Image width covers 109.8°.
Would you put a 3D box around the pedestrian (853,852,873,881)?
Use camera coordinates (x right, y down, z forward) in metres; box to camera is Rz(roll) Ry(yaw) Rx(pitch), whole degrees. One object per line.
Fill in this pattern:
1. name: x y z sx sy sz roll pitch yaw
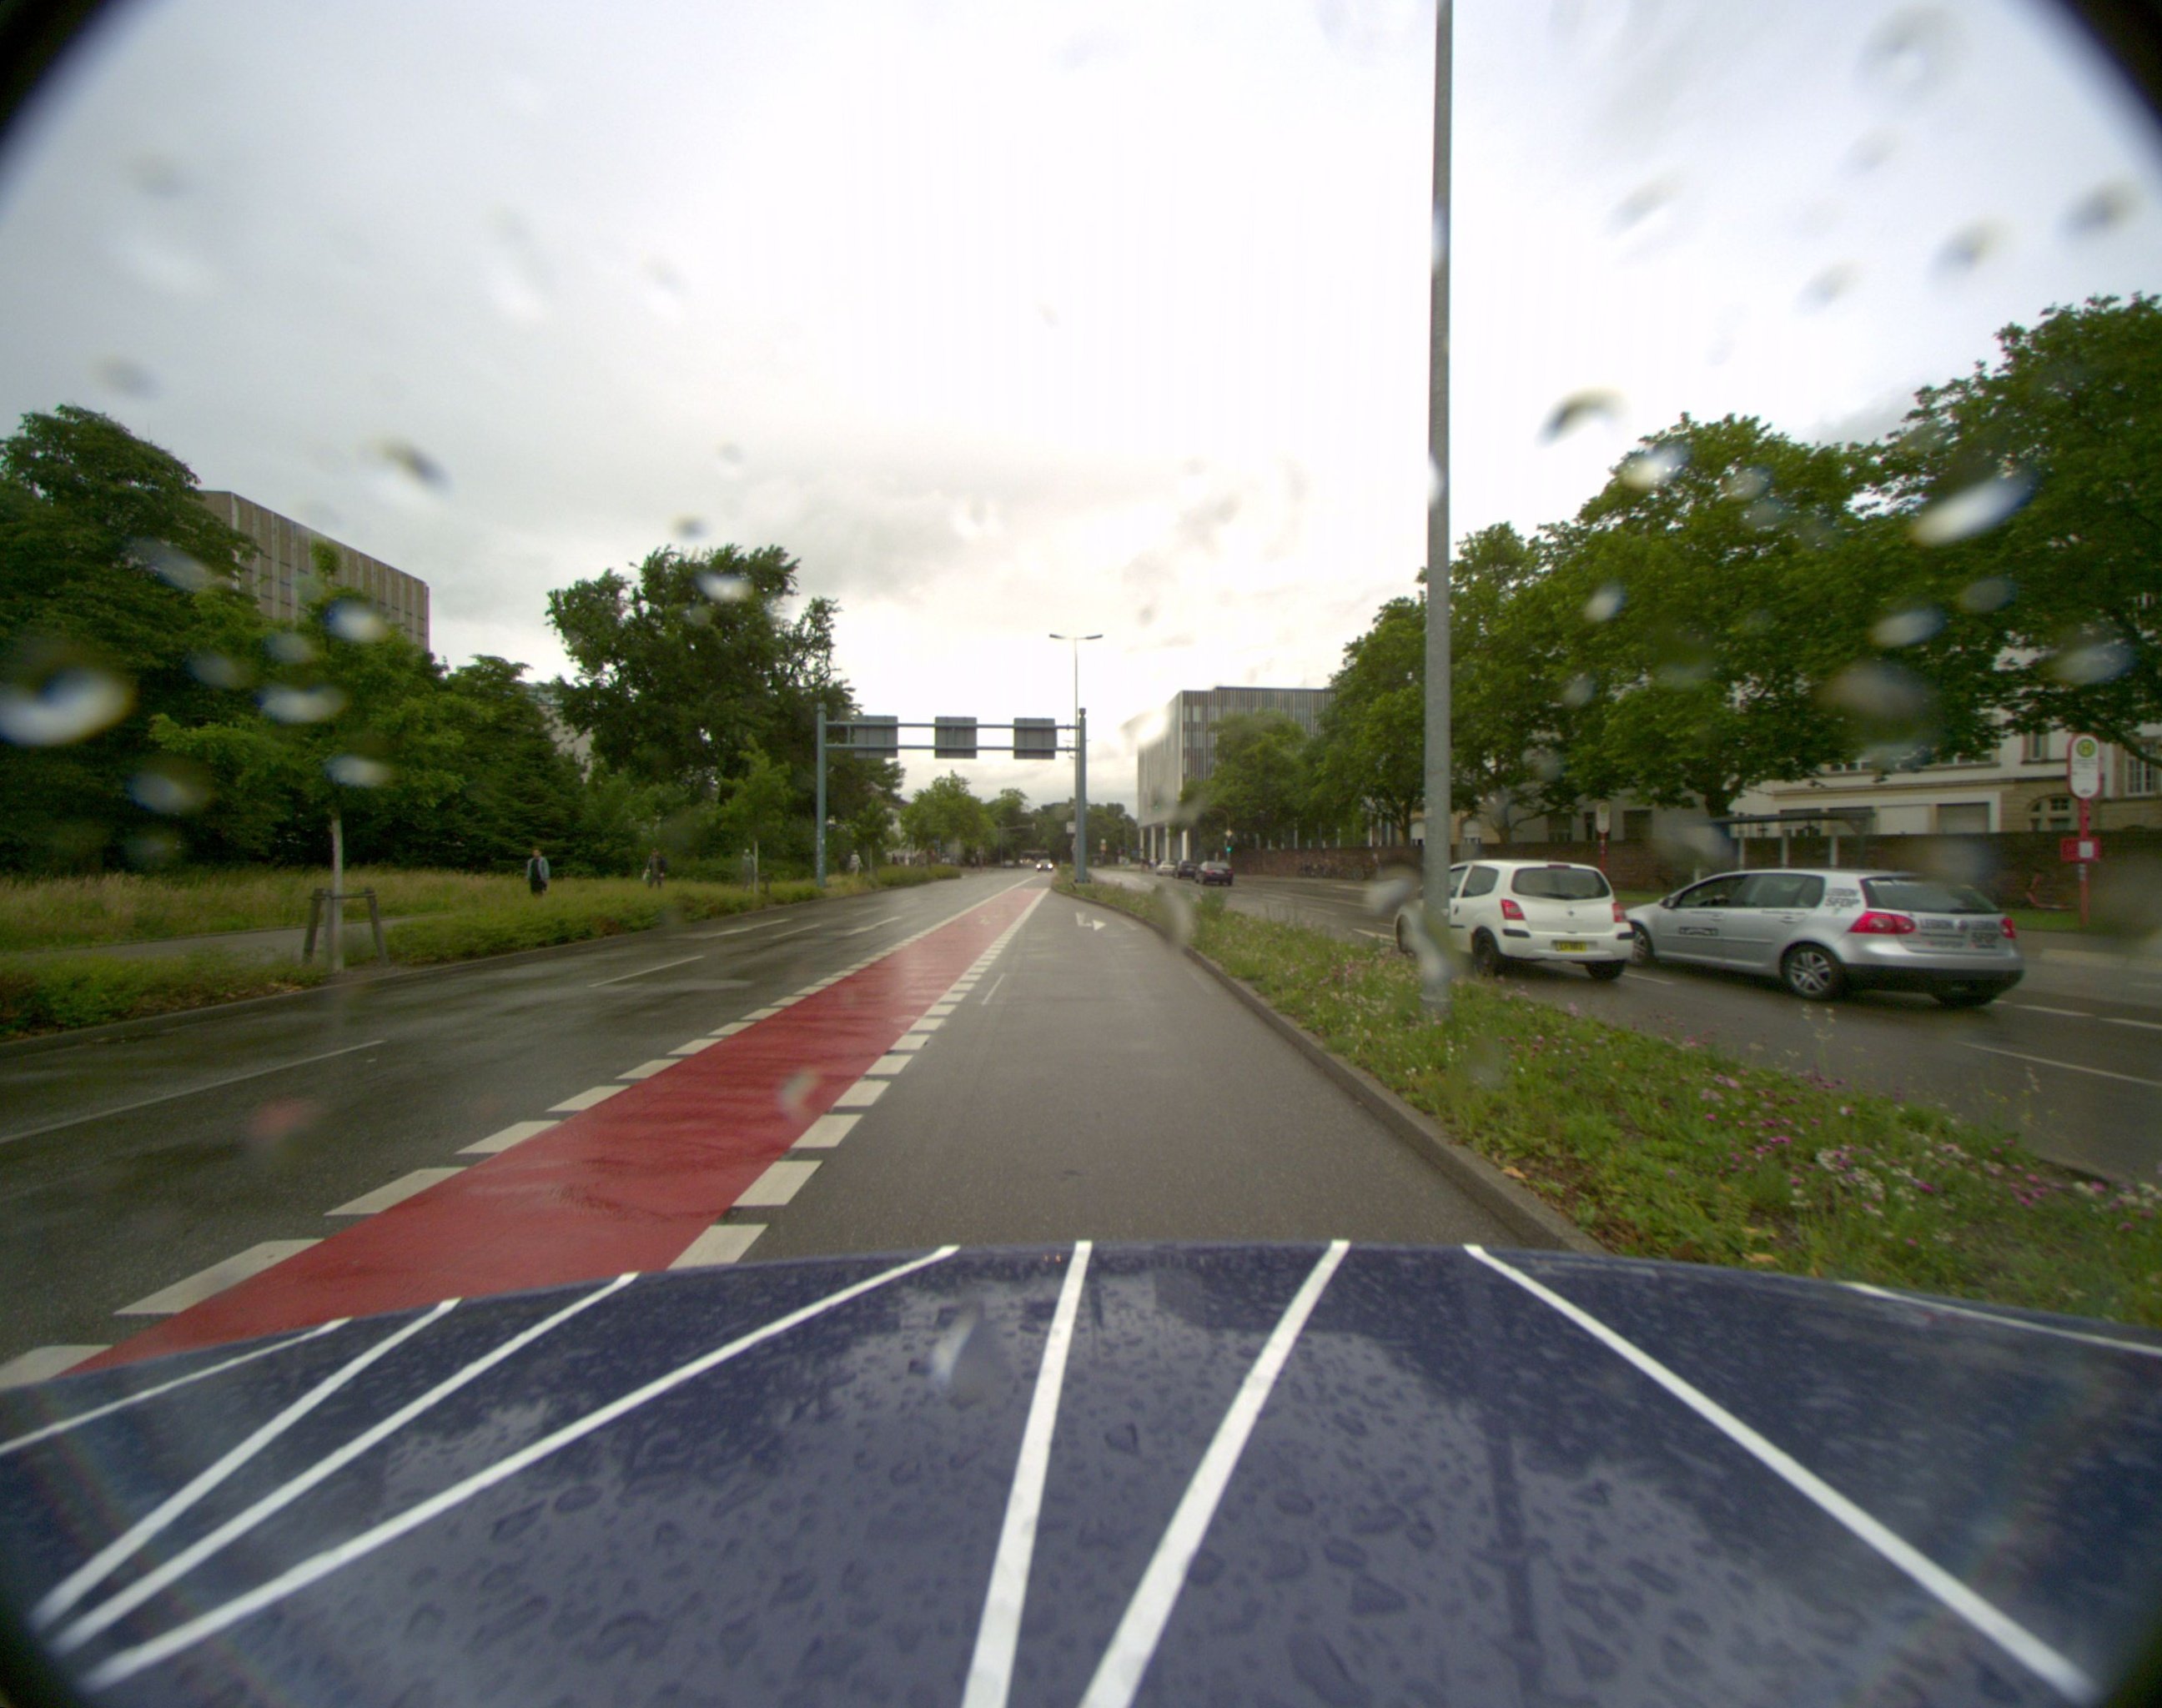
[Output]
1. pedestrian: -13.100 0.748 45.614 0.935 1.710 0.829 -1 -2 3

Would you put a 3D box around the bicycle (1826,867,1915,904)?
1. bicycle: 25.836 1.020 24.918 0.575 1.129 1.988 0 0 -17

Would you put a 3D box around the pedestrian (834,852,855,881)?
1. pedestrian: -14.273 0.781 45.829 0.935 1.693 0.829 -1 -2 3

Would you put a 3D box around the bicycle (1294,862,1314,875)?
1. bicycle: 17.250 1.111 58.716 0.734 0.977 1.699 0 0 -12

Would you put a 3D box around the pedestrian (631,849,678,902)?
1. pedestrian: -14.341 0.703 25.588 0.935 1.737 1.046 0 0 5

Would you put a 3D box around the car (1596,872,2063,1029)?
1. car: 8.634 0.983 9.418 1.683 1.396 4.158 1 0 0

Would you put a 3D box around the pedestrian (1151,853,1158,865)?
1. pedestrian: 10.695 0.734 110.044 0.788 1.813 0.623 0 0 -25

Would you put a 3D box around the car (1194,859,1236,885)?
1. car: 8.467 1.097 48.436 1.813 1.531 4.703 1 0 -1

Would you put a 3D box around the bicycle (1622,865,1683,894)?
1. bicycle: 23.452 1.033 31.239 0.575 1.129 1.988 0 0 -21

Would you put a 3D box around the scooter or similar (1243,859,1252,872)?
1. scooter or similar: 15.396 1.036 70.227 0.392 1.191 1.141 -7 1 -6

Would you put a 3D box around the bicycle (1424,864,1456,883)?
1. bicycle: 20.247 1.085 42.848 0.734 0.977 1.699 0 0 -12

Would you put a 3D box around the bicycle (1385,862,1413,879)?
1. bicycle: 19.341 1.017 46.216 0.734 0.977 1.699 0 0 -12

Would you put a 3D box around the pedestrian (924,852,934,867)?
1. pedestrian: -16.797 0.602 83.840 0.878 1.597 0.862 0 0 -24

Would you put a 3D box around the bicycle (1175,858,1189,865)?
1. bicycle: 17.332 1.292 130.402 2.287 1.215 0.598 0 0 -14

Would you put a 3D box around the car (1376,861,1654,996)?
1. car: 5.725 0.875 10.646 1.683 1.492 3.868 1 0 0

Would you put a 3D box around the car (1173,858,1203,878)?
1. car: 8.315 1.072 59.347 1.628 1.407 4.066 1 0 -1

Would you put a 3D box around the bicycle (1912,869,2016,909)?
1. bicycle: 26.740 1.041 23.065 0.575 1.129 1.988 0 0 -17

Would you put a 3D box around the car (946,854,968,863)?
1. car: -25.016 0.885 153.317 4.427 1.861 1.637 0 0 -9

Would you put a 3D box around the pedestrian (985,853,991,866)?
1. pedestrian: -12.861 0.794 104.860 0.625 1.813 0.785 0 0 -24

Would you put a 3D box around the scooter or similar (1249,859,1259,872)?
1. scooter or similar: 15.567 1.031 68.403 0.392 1.191 1.141 -7 1 -8

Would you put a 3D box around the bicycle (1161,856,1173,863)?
1. bicycle: 15.841 0.979 139.727 2.283 1.215 0.599 0 0 8

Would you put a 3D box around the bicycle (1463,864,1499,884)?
1. bicycle: 20.603 1.003 39.158 0.734 0.977 1.699 0 0 -12

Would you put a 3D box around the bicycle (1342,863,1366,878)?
1. bicycle: 18.344 1.090 51.037 0.734 0.977 1.699 0 0 -12

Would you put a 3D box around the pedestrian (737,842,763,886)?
1. pedestrian: -15.255 0.456 35.030 0.792 2.002 0.829 0 0 5

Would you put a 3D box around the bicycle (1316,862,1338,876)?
1. bicycle: 17.826 1.101 55.031 0.734 0.977 1.699 0 0 -12

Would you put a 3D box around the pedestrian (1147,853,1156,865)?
1. pedestrian: 10.262 0.728 111.150 0.941 1.813 0.922 0 0 -25

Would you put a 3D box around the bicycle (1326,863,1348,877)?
1. bicycle: 17.799 1.094 52.849 0.733 0.977 1.863 0 0 -8

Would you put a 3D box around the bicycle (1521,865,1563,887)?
1. bicycle: 21.999 1.052 36.266 0.734 0.977 1.699 0 0 -12

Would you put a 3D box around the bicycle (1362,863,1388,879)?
1. bicycle: 18.950 1.086 48.954 0.734 0.977 1.699 0 0 -12

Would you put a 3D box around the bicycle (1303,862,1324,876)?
1. bicycle: 17.328 1.105 56.693 0.734 0.977 1.699 0 0 -12

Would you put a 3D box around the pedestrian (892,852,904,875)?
1. pedestrian: -14.759 0.743 61.249 0.731 1.848 0.851 0 0 5

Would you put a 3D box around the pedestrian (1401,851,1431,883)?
1. pedestrian: 18.037 0.695 40.900 0.871 1.686 1.399 0 0 -7

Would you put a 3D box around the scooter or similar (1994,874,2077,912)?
1. scooter or similar: 27.220 1.096 21.699 0.574 1.040 1.360 0 0 -17

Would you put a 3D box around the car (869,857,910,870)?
1. car: -22.475 1.115 89.239 4.388 1.330 1.771 0 3 -5

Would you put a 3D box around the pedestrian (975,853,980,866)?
1. pedestrian: -14.213 0.767 104.491 0.625 1.813 0.786 0 0 -16

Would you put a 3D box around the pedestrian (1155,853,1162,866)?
1. pedestrian: 11.085 0.762 109.186 0.788 1.813 0.623 0 0 -25

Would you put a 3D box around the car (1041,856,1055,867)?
1. car: -3.999 0.878 91.755 1.661 1.356 4.105 0 0 -3

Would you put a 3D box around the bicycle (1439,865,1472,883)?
1. bicycle: 20.448 1.082 41.509 0.734 0.977 1.699 0 0 -12

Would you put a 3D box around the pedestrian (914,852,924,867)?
1. pedestrian: -17.843 0.597 83.555 0.879 1.597 0.861 0 0 -30

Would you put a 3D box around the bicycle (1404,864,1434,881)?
1. bicycle: 19.804 1.073 44.528 0.734 0.977 1.699 0 0 -12

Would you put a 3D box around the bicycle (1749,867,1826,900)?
1. bicycle: 25.148 1.025 27.087 0.575 1.129 1.988 0 0 -17

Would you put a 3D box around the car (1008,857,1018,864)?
1. car: -12.571 1.231 140.181 1.661 1.259 4.105 0 0 -3

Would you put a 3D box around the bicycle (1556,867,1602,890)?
1. bicycle: 22.405 1.070 34.220 0.734 0.977 1.699 0 0 -12

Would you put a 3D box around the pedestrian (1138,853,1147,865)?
1. pedestrian: 9.020 0.725 111.055 0.941 1.813 0.921 0 0 -32

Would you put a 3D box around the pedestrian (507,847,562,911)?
1. pedestrian: -15.405 0.696 21.443 0.935 1.786 0.829 0 0 5

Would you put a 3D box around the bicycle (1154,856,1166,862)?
1. bicycle: 15.094 0.995 145.708 2.283 1.215 0.599 0 0 8

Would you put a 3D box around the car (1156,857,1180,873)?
1. car: 8.224 1.022 72.133 1.600 1.407 4.524 1 0 -1

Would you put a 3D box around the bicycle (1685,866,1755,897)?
1. bicycle: 24.352 1.029 28.999 0.575 1.129 1.988 0 0 -21

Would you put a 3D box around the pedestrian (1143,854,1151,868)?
1. pedestrian: 8.765 0.912 101.376 0.788 1.813 0.794 0 0 -25
